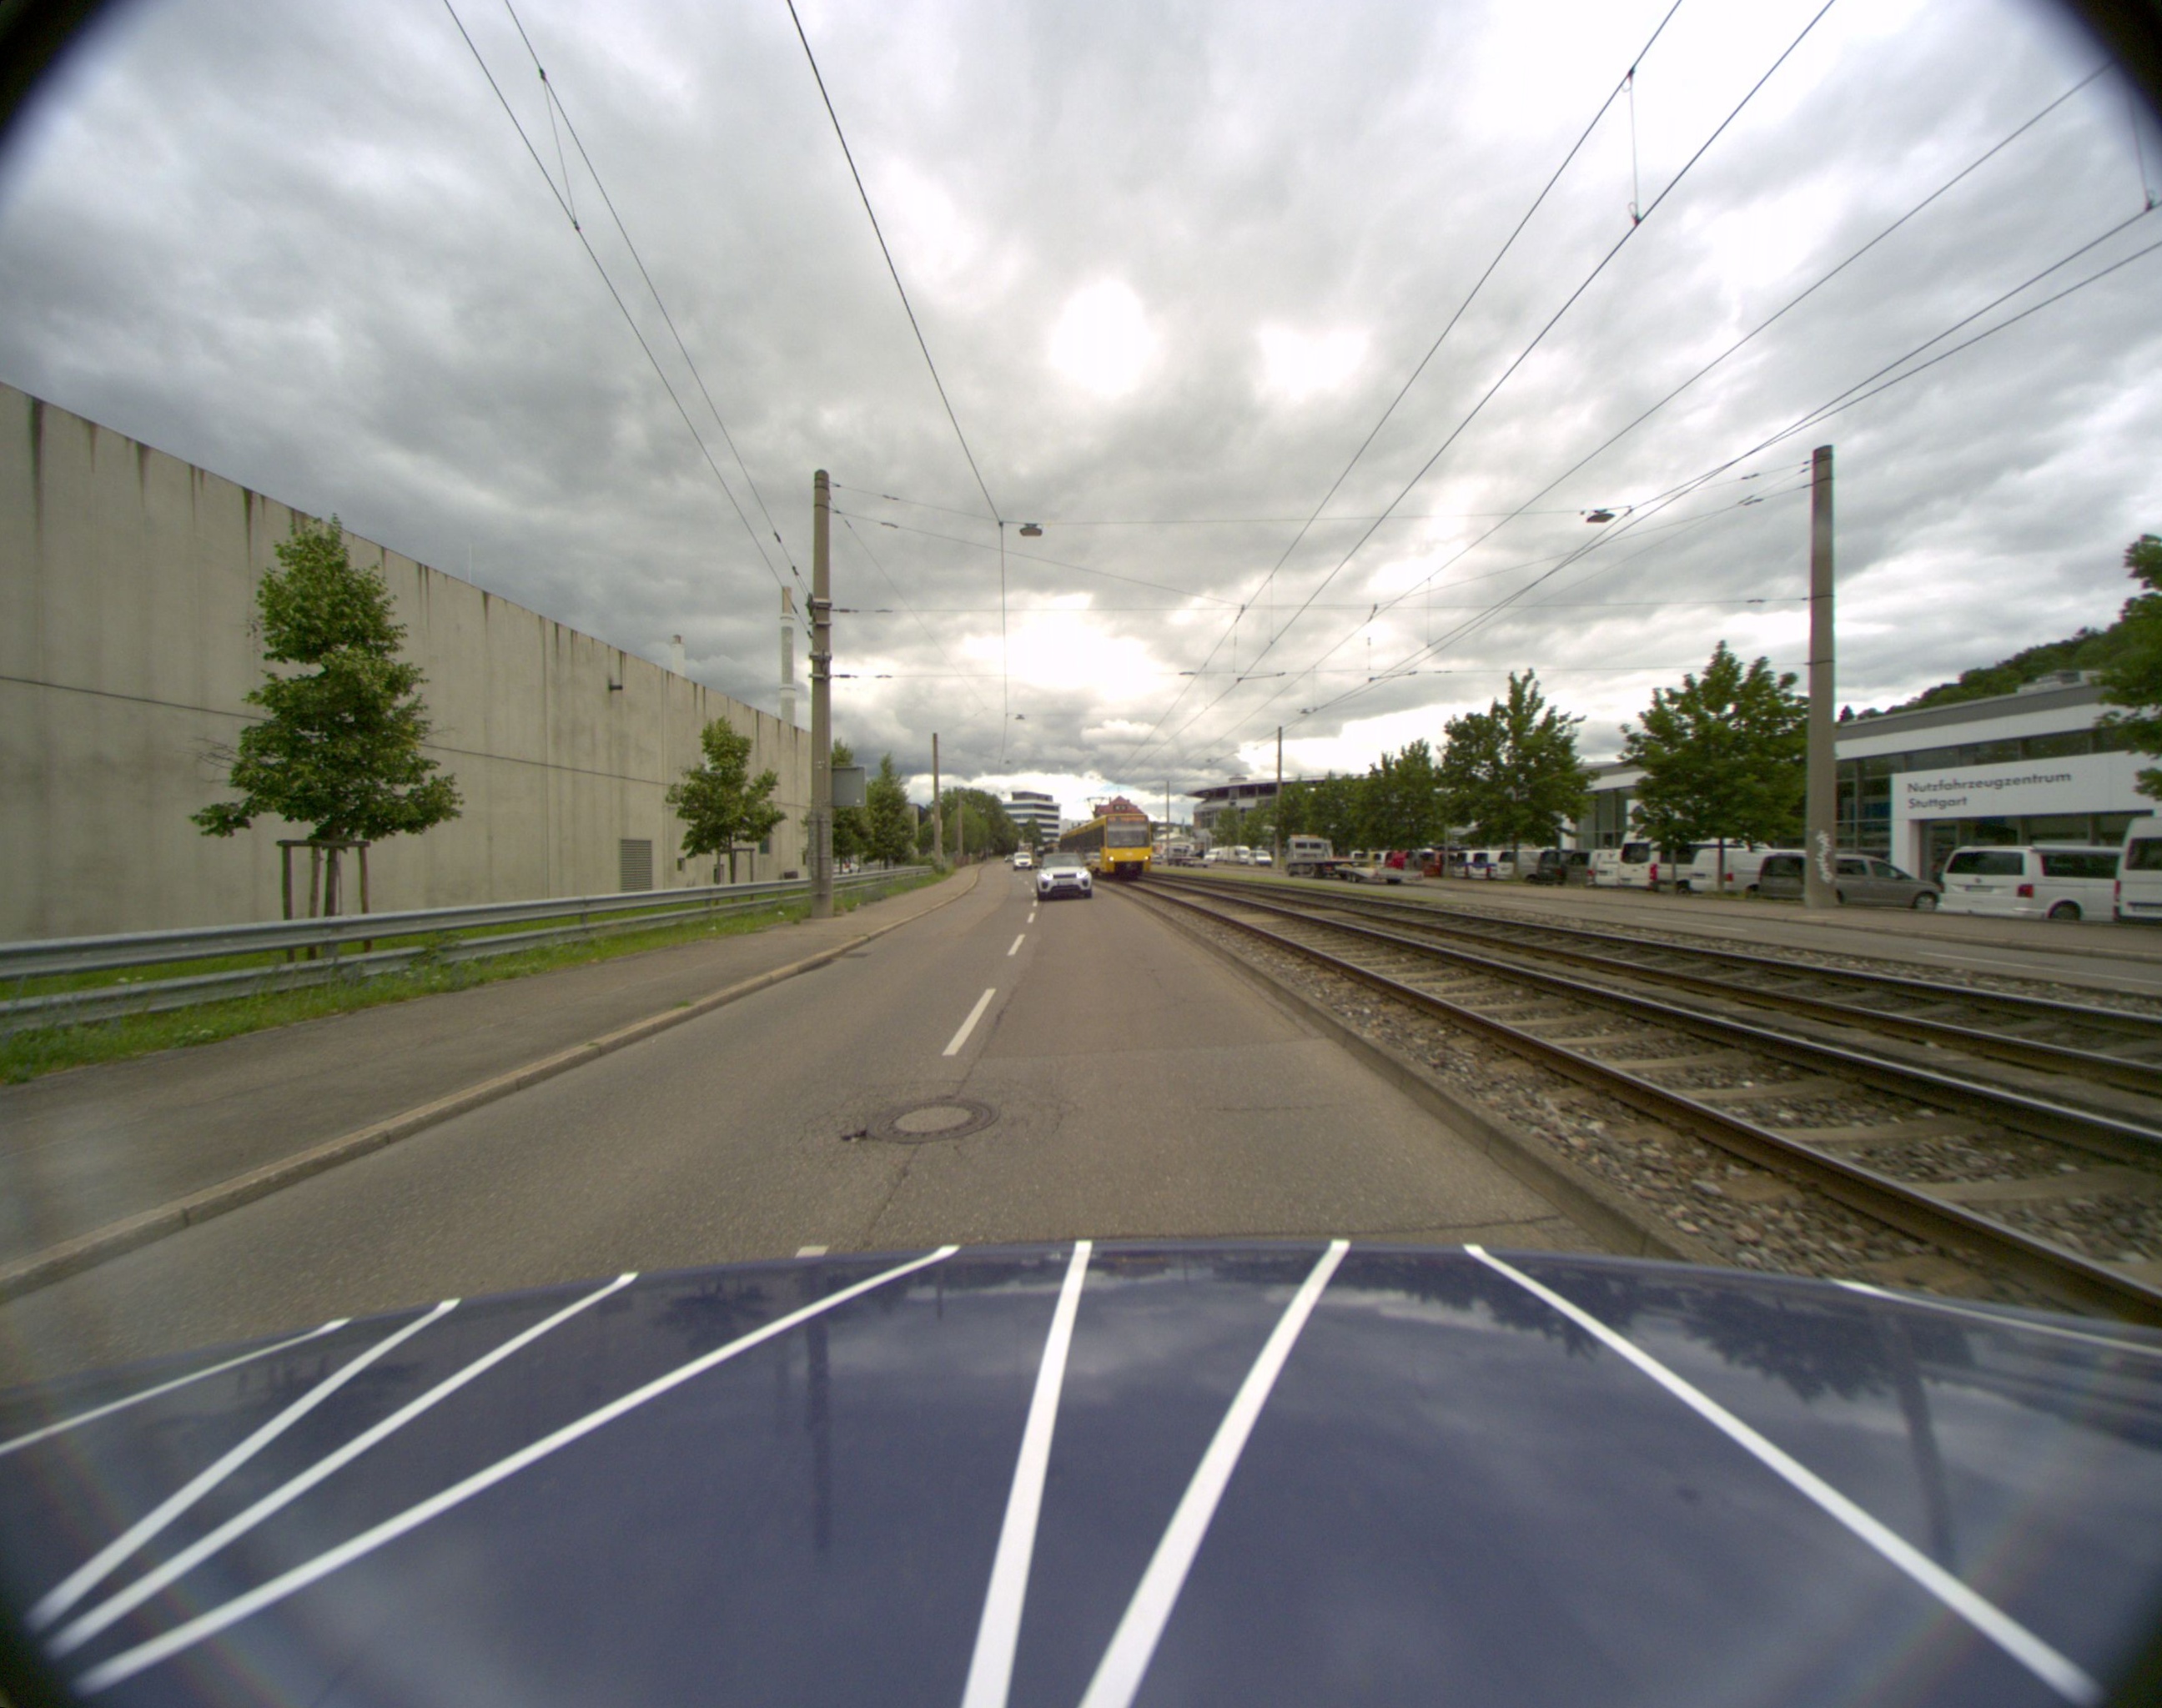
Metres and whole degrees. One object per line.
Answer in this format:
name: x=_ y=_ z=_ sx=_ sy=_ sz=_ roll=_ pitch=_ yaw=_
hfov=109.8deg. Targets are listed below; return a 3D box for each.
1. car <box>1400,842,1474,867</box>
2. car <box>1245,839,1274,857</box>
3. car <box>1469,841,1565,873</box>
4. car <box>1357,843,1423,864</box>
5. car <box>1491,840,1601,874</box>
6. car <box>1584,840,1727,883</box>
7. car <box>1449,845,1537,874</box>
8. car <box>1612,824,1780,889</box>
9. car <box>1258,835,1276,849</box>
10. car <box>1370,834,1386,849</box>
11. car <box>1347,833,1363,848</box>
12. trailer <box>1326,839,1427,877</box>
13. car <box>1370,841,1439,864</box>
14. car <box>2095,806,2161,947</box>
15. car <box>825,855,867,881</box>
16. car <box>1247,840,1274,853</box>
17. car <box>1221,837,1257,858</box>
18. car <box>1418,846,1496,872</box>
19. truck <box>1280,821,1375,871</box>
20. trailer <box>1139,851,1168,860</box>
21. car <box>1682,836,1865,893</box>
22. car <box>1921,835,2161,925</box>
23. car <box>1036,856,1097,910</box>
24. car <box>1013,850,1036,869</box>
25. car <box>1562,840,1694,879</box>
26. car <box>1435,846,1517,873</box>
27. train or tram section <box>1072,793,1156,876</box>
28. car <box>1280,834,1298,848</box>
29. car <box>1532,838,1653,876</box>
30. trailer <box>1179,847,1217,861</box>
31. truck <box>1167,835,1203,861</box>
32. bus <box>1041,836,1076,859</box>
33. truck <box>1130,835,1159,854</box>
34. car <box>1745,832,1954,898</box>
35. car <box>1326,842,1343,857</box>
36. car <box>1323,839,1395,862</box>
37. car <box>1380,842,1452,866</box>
car: x=23.891 y=0.027 z=51.116 sx=3.996 sy=1.655 sz=2.048 roll=-1 pitch=1 yaw=4
car: x=21.275 y=-0.704 z=90.661 sx=1.999 sy=2.002 sz=4.805 roll=-1 pitch=0 yaw=-4
car: x=23.425 y=0.153 z=40.950 sx=3.996 sy=1.608 sz=2.000 roll=-1 pitch=1 yaw=4
car: x=24.383 y=-0.067 z=60.041 sx=4.346 sy=1.608 sz=2.155 roll=-1 pitch=1 yaw=4
car: x=23.595 y=0.133 z=38.668 sx=4.375 sy=1.608 sz=2.004 roll=-1 pitch=1 yaw=3
car: x=23.639 y=0.281 z=31.395 sx=4.377 sy=1.679 sz=2.031 roll=-1 pitch=1 yaw=-1
car: x=23.744 y=0.326 z=43.938 sx=3.996 sy=1.608 sz=2.000 roll=-1 pitch=1 yaw=4
car: x=22.901 y=0.088 z=28.453 sx=4.506 sy=2.298 sz=2.125 roll=-1 pitch=1 yaw=3
car: x=26.948 y=-1.688 z=109.862 sx=1.995 sy=2.002 sz=4.006 roll=0 pitch=1 yaw=23
car: x=40.940 y=-1.725 z=104.638 sx=1.995 sy=2.002 sz=4.006 roll=0 pitch=1 yaw=22
car: x=38.667 y=-1.875 z=107.215 sx=1.995 sy=2.002 sz=4.006 roll=0 pitch=1 yaw=22
trailer: x=14.784 y=0.154 z=38.592 sx=2.388 sy=1.688 sz=6.947 roll=1 pitch=1 yaw=0
car: x=24.225 y=-0.098 z=57.049 sx=4.355 sy=1.608 sz=2.120 roll=-1 pitch=1 yaw=4
car: x=23.013 y=0.394 z=14.360 sx=4.979 sy=2.683 sz=2.115 roll=-1 pitch=1 yaw=-1
car: x=-15.744 y=0.922 z=51.102 sx=1.754 sy=1.565 sz=4.428 roll=-3 pitch=0 yaw=-5
car: x=28.326 y=-1.230 z=120.041 sx=4.007 sy=2.002 sz=1.994 roll=-1 pitch=1 yaw=-37
car: x=20.106 y=-0.809 z=97.074 sx=2.001 sy=2.546 sz=5.855 roll=-1 pitch=0 yaw=-15
car: x=23.914 y=0.308 z=48.462 sx=3.996 sy=1.608 sz=2.000 roll=-1 pitch=1 yaw=4
truck: x=14.850 y=-0.473 z=46.637 sx=2.763 sy=2.726 sz=9.217 roll=1 pitch=0 yaw=0
trailer: x=10.863 y=0.247 z=114.308 sx=3.058 sy=1.270 sz=7.002 roll=1 pitch=0 yaw=-5
car: x=23.697 y=0.347 z=26.153 sx=4.375 sy=1.834 sz=2.004 roll=-1 pitch=1 yaw=3
car: x=23.575 y=0.584 z=18.375 sx=4.377 sy=1.999 sz=2.004 roll=-1 pitch=1 yaw=-1
car: x=-0.612 y=1.001 z=27.726 sx=1.999 sy=1.718 sz=3.998 roll=-2 pitch=0 yaw=-3
car: x=-5.821 y=0.550 z=77.788 sx=2.000 sy=1.882 sz=4.623 roll=-1 pitch=0 yaw=-8
car: x=24.167 y=0.233 z=33.708 sx=4.375 sy=1.608 sz=2.004 roll=-1 pitch=1 yaw=3
car: x=24.073 y=0.326 z=46.403 sx=3.996 sy=1.608 sz=2.000 roll=-1 pitch=1 yaw=4
train or tram section: x=1.558 y=-1.105 z=46.355 sx=3.397 sy=3.984 sz=16.936 roll=-2 pitch=1 yaw=-3
car: x=29.864 y=-1.872 z=108.876 sx=1.995 sy=2.002 sz=4.006 roll=0 pitch=1 yaw=23
car: x=24.261 y=0.142 z=36.185 sx=4.375 sy=1.676 sz=2.004 roll=-1 pitch=1 yaw=3
trailer: x=13.301 y=-0.048 z=86.882 sx=2.766 sy=1.486 sz=7.222 roll=2 pitch=0 yaw=-4
truck: x=12.893 y=-0.737 z=94.715 sx=2.872 sy=2.964 sz=8.451 roll=1 pitch=0 yaw=-3
bus: x=-4.330 y=-1.223 z=142.040 sx=3.564 sy=3.931 sz=10.474 roll=-3 pitch=2 yaw=-18
truck: x=10.143 y=-1.498 z=122.239 sx=3.117 sy=2.904 sz=8.956 roll=1 pitch=0 yaw=-6
car: x=23.876 y=0.320 z=23.761 sx=4.375 sy=1.936 sz=2.004 roll=-1 pitch=1 yaw=3
car: x=35.419 y=-0.641 z=106.222 sx=1.995 sy=2.002 sz=4.006 roll=0 pitch=1 yaw=22
car: x=23.911 y=-0.302 z=65.462 sx=5.701 sy=1.996 sz=2.147 roll=0 pitch=1 yaw=20
car: x=23.709 y=-0.014 z=53.870 sx=4.187 sy=1.608 sz=2.063 roll=-1 pitch=1 yaw=4
